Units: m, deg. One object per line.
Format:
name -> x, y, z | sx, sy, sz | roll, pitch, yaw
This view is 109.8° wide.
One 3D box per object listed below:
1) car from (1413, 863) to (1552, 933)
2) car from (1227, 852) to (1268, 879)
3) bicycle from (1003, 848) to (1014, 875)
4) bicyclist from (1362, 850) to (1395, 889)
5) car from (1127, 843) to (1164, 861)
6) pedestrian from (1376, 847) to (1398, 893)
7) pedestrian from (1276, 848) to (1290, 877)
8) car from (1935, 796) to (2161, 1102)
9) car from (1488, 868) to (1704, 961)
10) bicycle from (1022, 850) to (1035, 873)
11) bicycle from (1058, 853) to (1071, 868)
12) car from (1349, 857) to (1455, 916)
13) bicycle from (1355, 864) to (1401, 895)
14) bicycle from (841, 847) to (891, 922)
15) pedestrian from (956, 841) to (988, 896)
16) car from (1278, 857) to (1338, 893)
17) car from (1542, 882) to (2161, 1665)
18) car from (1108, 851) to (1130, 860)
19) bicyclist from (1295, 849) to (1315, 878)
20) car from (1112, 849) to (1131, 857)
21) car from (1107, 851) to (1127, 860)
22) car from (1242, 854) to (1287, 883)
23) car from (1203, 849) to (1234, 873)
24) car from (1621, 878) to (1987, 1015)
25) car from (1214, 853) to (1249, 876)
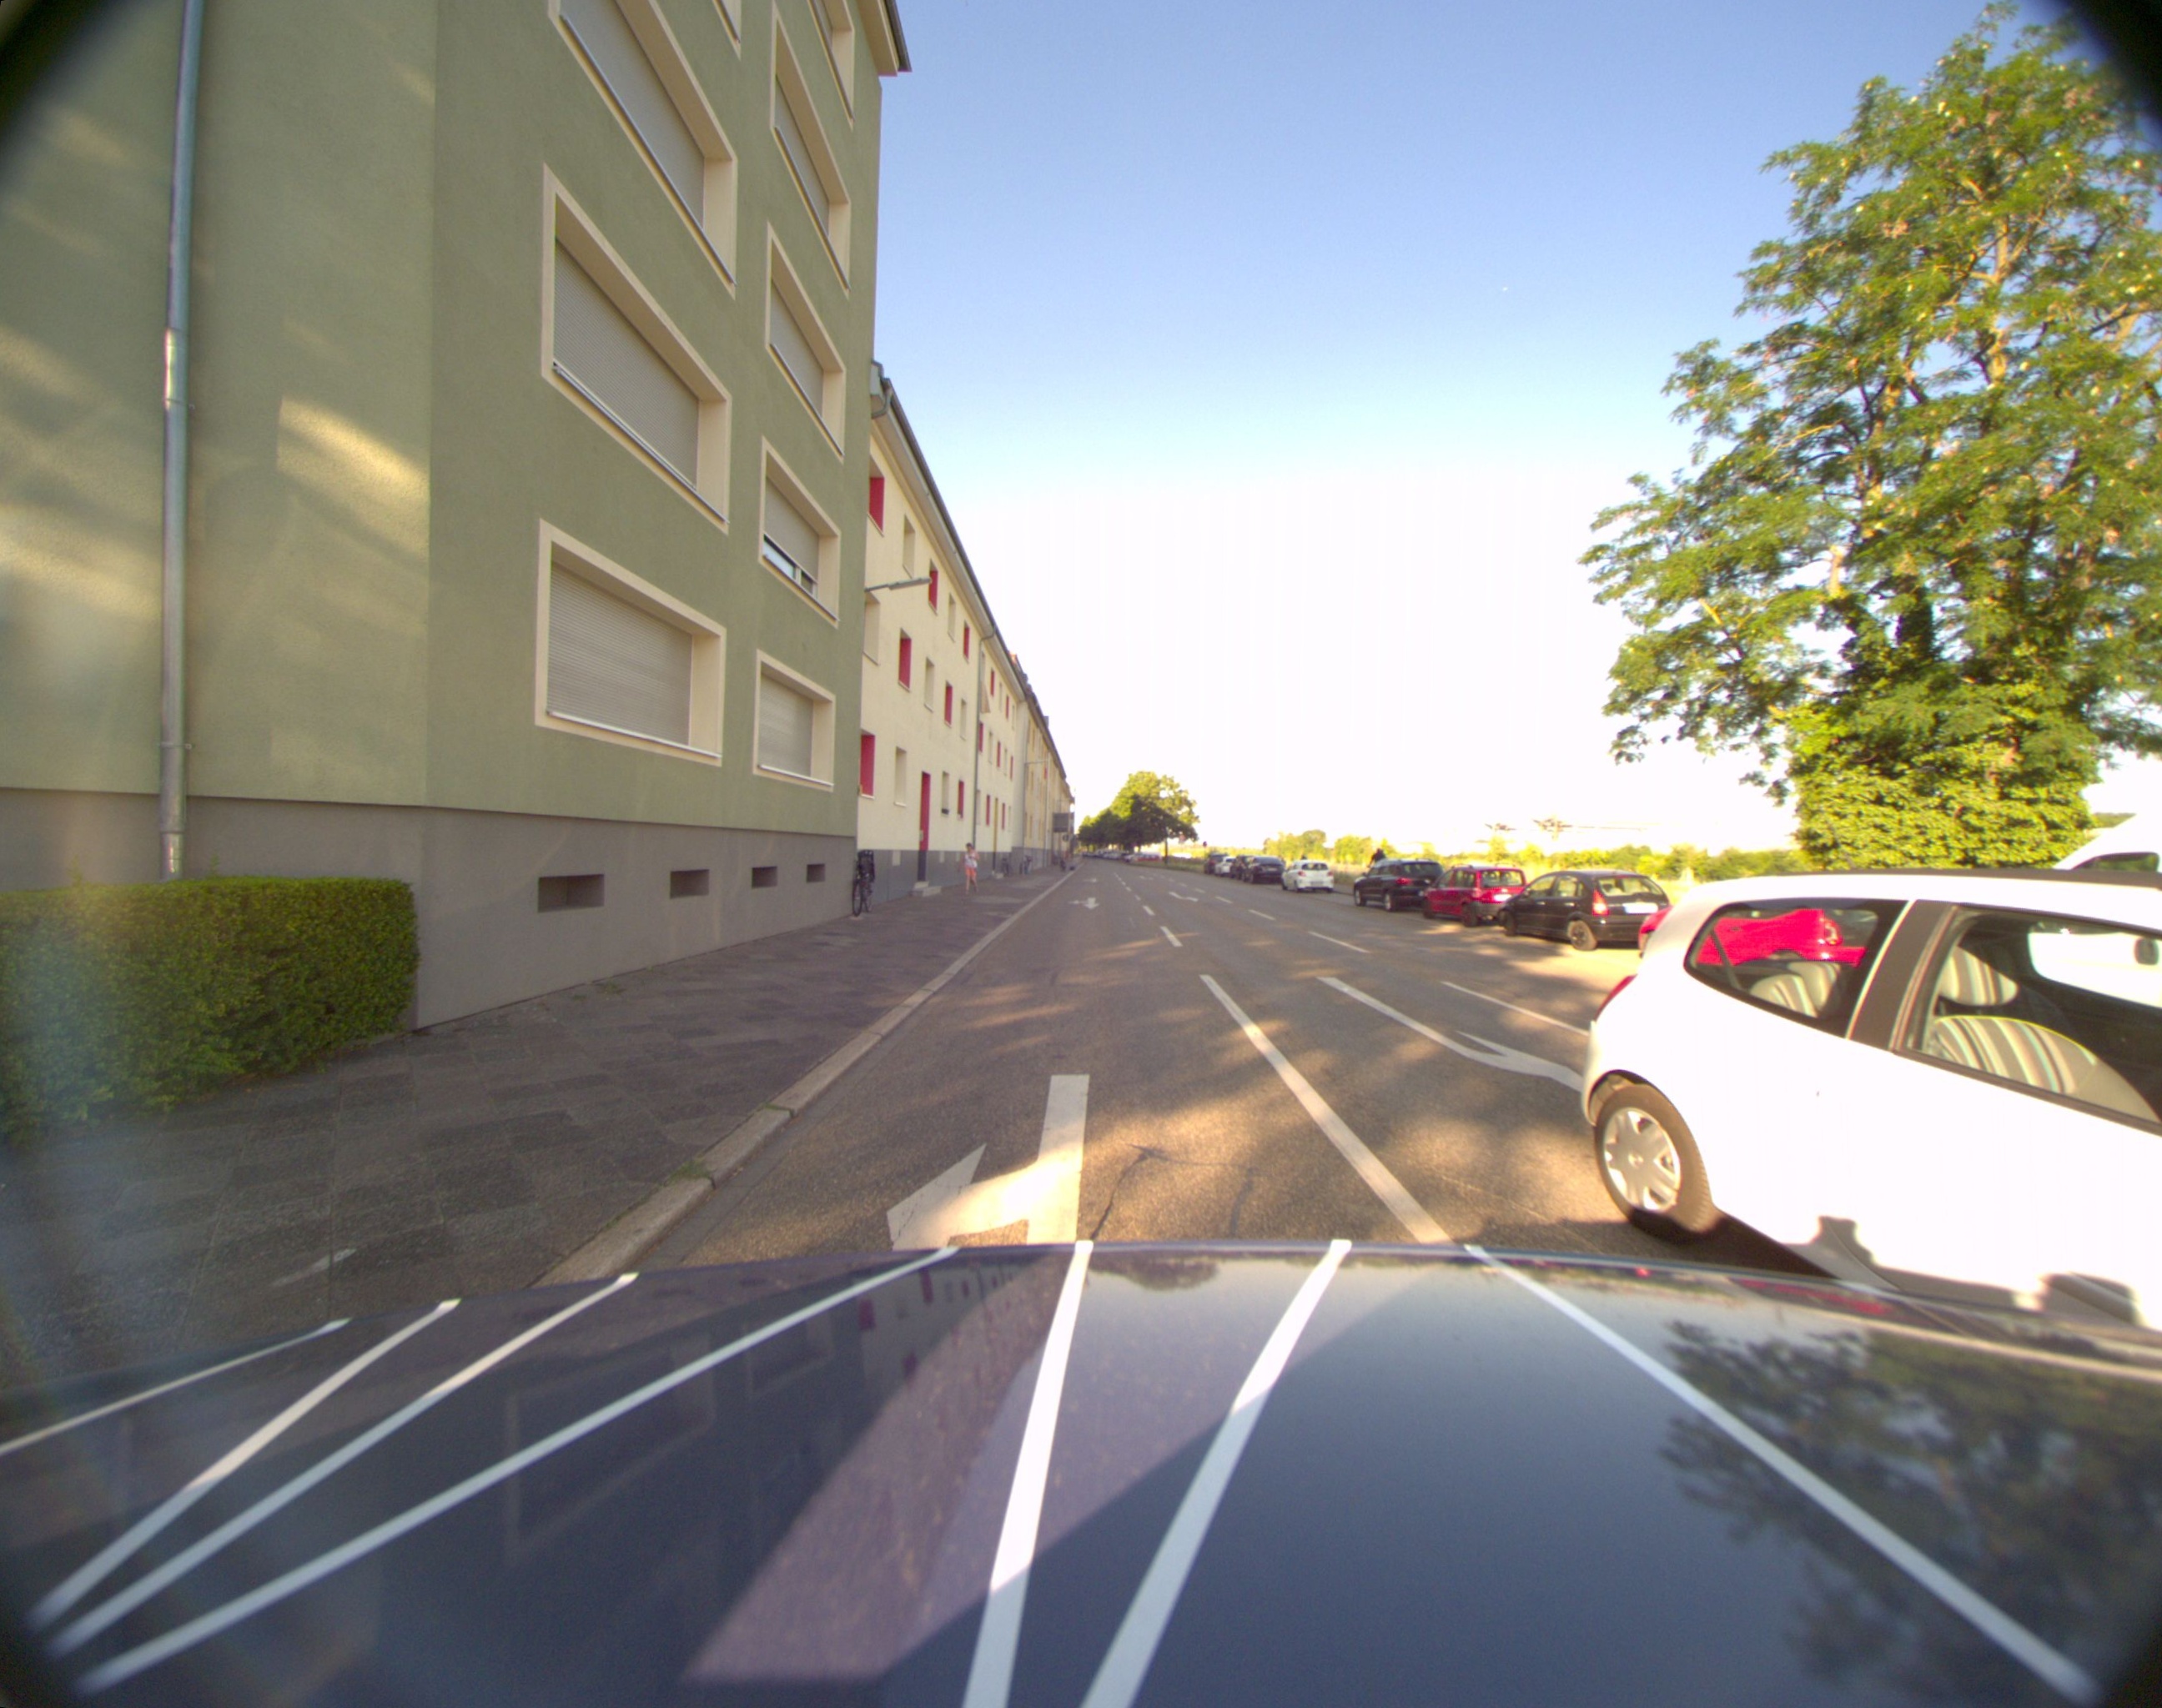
car -> 10.257, 1.064, 19.727 | 1.664, 1.521, 3.579 | 2, 1, 0
car -> 10.841, 0.685, 49.702 | 1.823, 1.628, 4.220 | 2, 1, 2
bicycle -> -3.939, 0.385, 41.373 | 0.517, 1.404, 1.873 | 2, 1, -3
bicyclist -> 12.558, 0.643, 32.118 | 0.866, 1.587, 1.146 | 2, 1, 0
car -> 9.513, -0.291, 112.241 | 5.322, 2.398, 2.266 | -2, 1, 0
pedestrian -> 13.526, 0.689, 33.623 | 0.615, 2.002, 0.730 | 2, 1, -1
pedestrian -> 13.899, 0.590, 52.243 | 0.706, 2.002, 0.710 | 2, 1, 2
car -> 9.682, 0.748, 4.819 | 2.235, 2.422, 5.559 | -1, 1, -1
car -> 10.164, 1.106, 15.411 | 1.745, 1.521, 3.816 | 2, 1, 0
bicycle -> -3.169, 0.436, 46.305 | 0.517, 1.318, 2.210 | 2, 1, 2
bicycle -> -1.255, 0.495, 56.840 | 0.651, 1.091, 2.201 | 1, 1, -8
car -> 10.135, 0.951, 24.348 | 1.664, 1.649, 4.005 | 2, 1, 0
bicycle -> 12.553, 1.044, 32.209 | 0.940, 1.182, 2.482 | 2, 1, -1
bicycle -> -4.315, 0.577, 15.369 | 0.517, 1.404, 1.873 | 2, 1, -3
pedestrian -> -3.461, 0.445, 24.145 | 0.787, 1.697, 0.950 | 3, 1, 1
car -> 10.404, 0.923, 35.069 | 1.706, 1.517, 3.583 | 2, 1, 1
car -> 3.008, 0.896, 1.608 | 1.705, 1.460, 3.775 | 2, 1, -1
car -> 7.478, 0.262, 149.733 | 3.997, 1.708, 2.000 | 2, 1, -1
bicyclist -> 12.729, 0.520, 43.166 | 0.768, 1.587, 1.146 | 2, 1, 2
car -> 9.185, -0.212, 173.164 | 3.997, 1.708, 2.000 | 2, 1, -1
car -> 7.410, 0.204, 155.315 | 3.997, 1.708, 2.000 | 2, 1, -1
car -> 10.565, 0.815, 44.002 | 1.823, 1.517, 4.291 | 2, 0, 5
car -> 10.996, 0.527, 60.980 | 1.890, 1.765, 4.220 | 2, 1, 2
car -> 10.062, 1.180, 11.041 | 1.745, 1.478, 3.694 | 2, 1, 0
car -> 10.847, 0.710, 55.095 | 1.823, 1.565, 4.220 | 2, 0, 2
